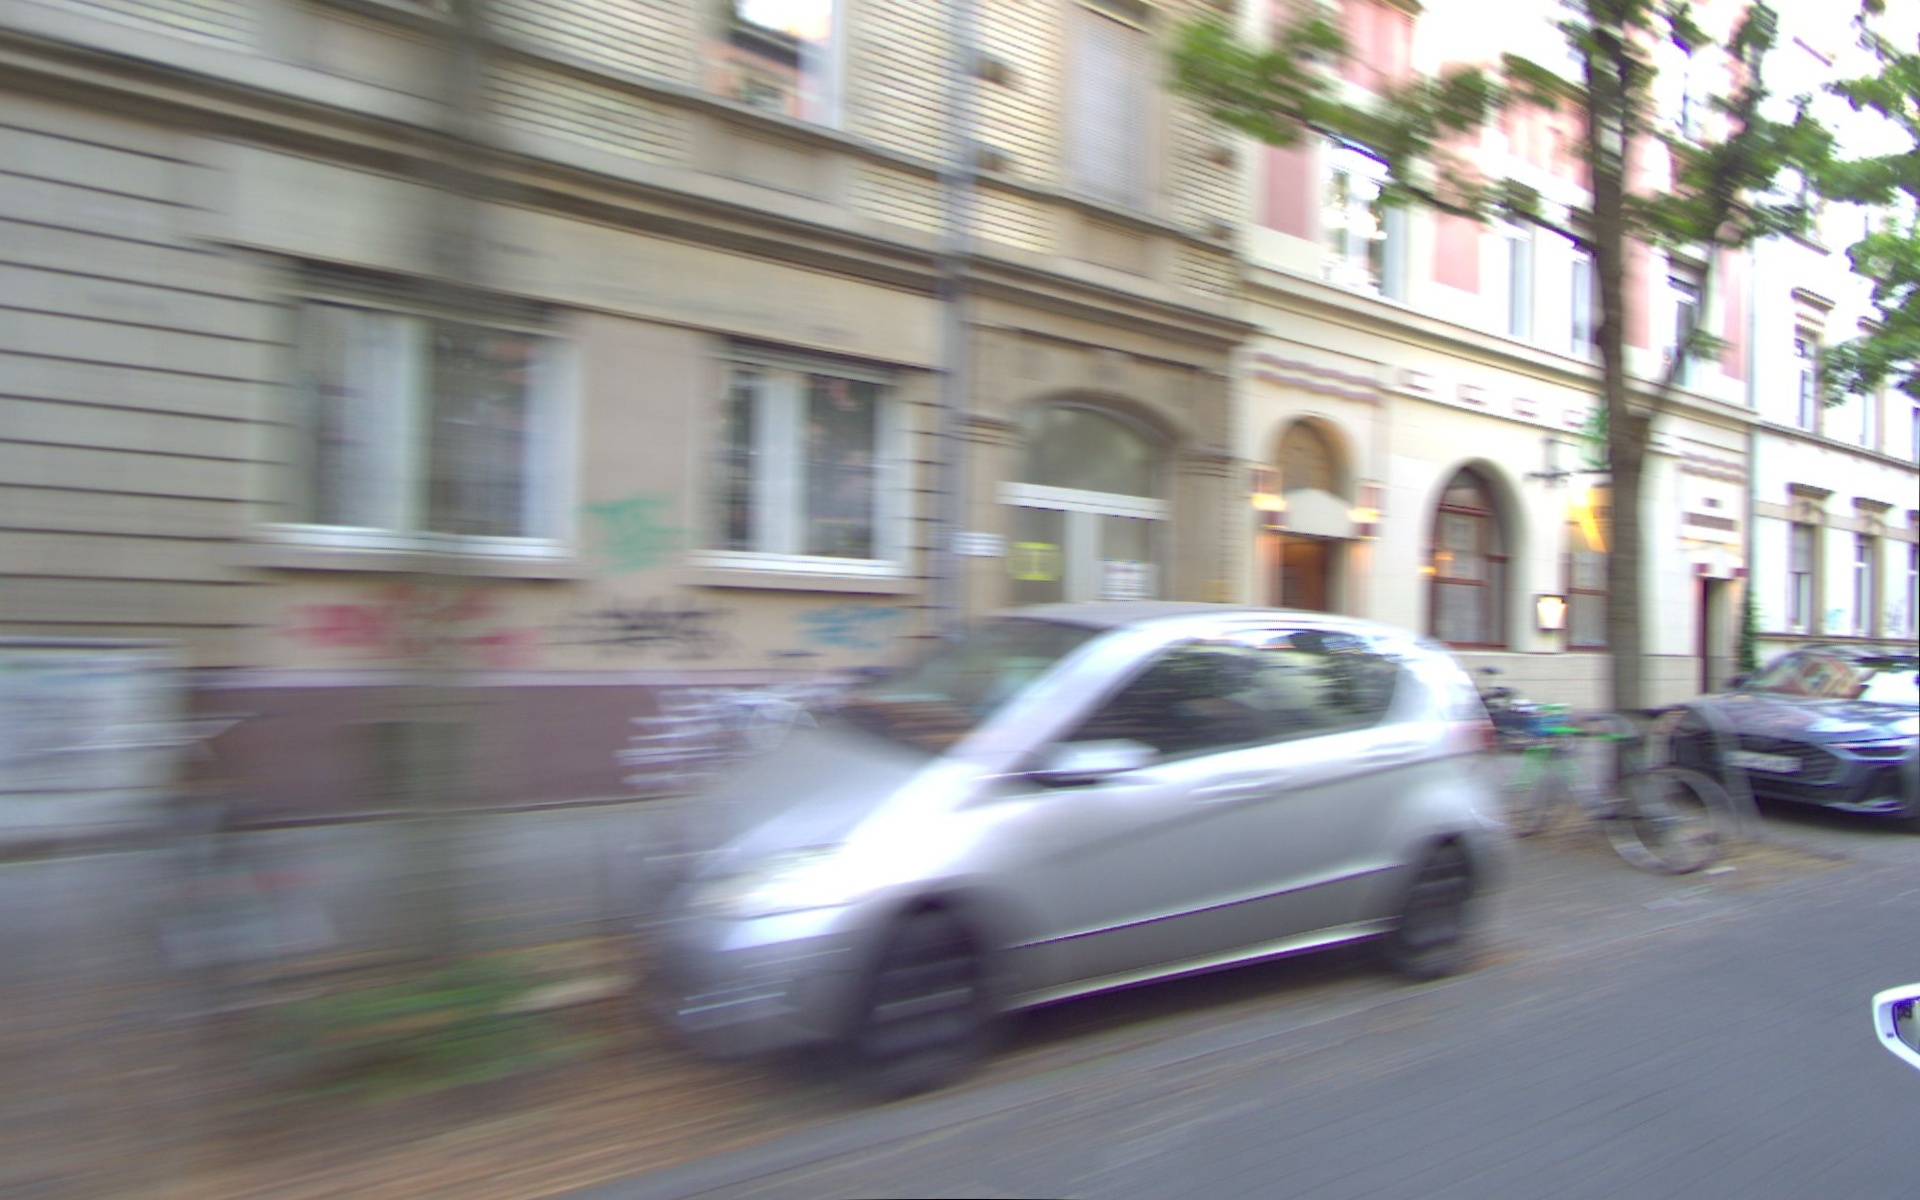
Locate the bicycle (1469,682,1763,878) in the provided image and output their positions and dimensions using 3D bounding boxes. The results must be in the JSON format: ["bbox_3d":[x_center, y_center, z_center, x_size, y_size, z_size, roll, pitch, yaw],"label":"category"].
[{"bbox_3d":[4.476,1.174,7.001,0.424,1.017,1.677,2,1,-28],"label":"bicycle"}]

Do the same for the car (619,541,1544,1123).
[{"bbox_3d":[0.630,0.713,4.476,3.814,1.629,1.669,2,-1,-29],"label":"car"}]

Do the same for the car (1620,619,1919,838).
[{"bbox_3d":[8.288,1.042,9.275,4.631,1.538,1.797,3,0,-31],"label":"car"}]

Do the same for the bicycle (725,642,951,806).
[{"bbox_3d":[-0.902,0.888,7.571,1.610,1.104,0.459,1,2,-30],"label":"bicycle"}]

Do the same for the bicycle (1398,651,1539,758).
[{"bbox_3d":[5.720,1.145,11.267,1.774,1.112,0.524,3,-2,-30],"label":"bicycle"}]

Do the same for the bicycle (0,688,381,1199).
[{"bbox_3d":[-2.433,0.898,3.037,1.842,1.074,0.593,3,0,42],"label":"bicycle"}]
